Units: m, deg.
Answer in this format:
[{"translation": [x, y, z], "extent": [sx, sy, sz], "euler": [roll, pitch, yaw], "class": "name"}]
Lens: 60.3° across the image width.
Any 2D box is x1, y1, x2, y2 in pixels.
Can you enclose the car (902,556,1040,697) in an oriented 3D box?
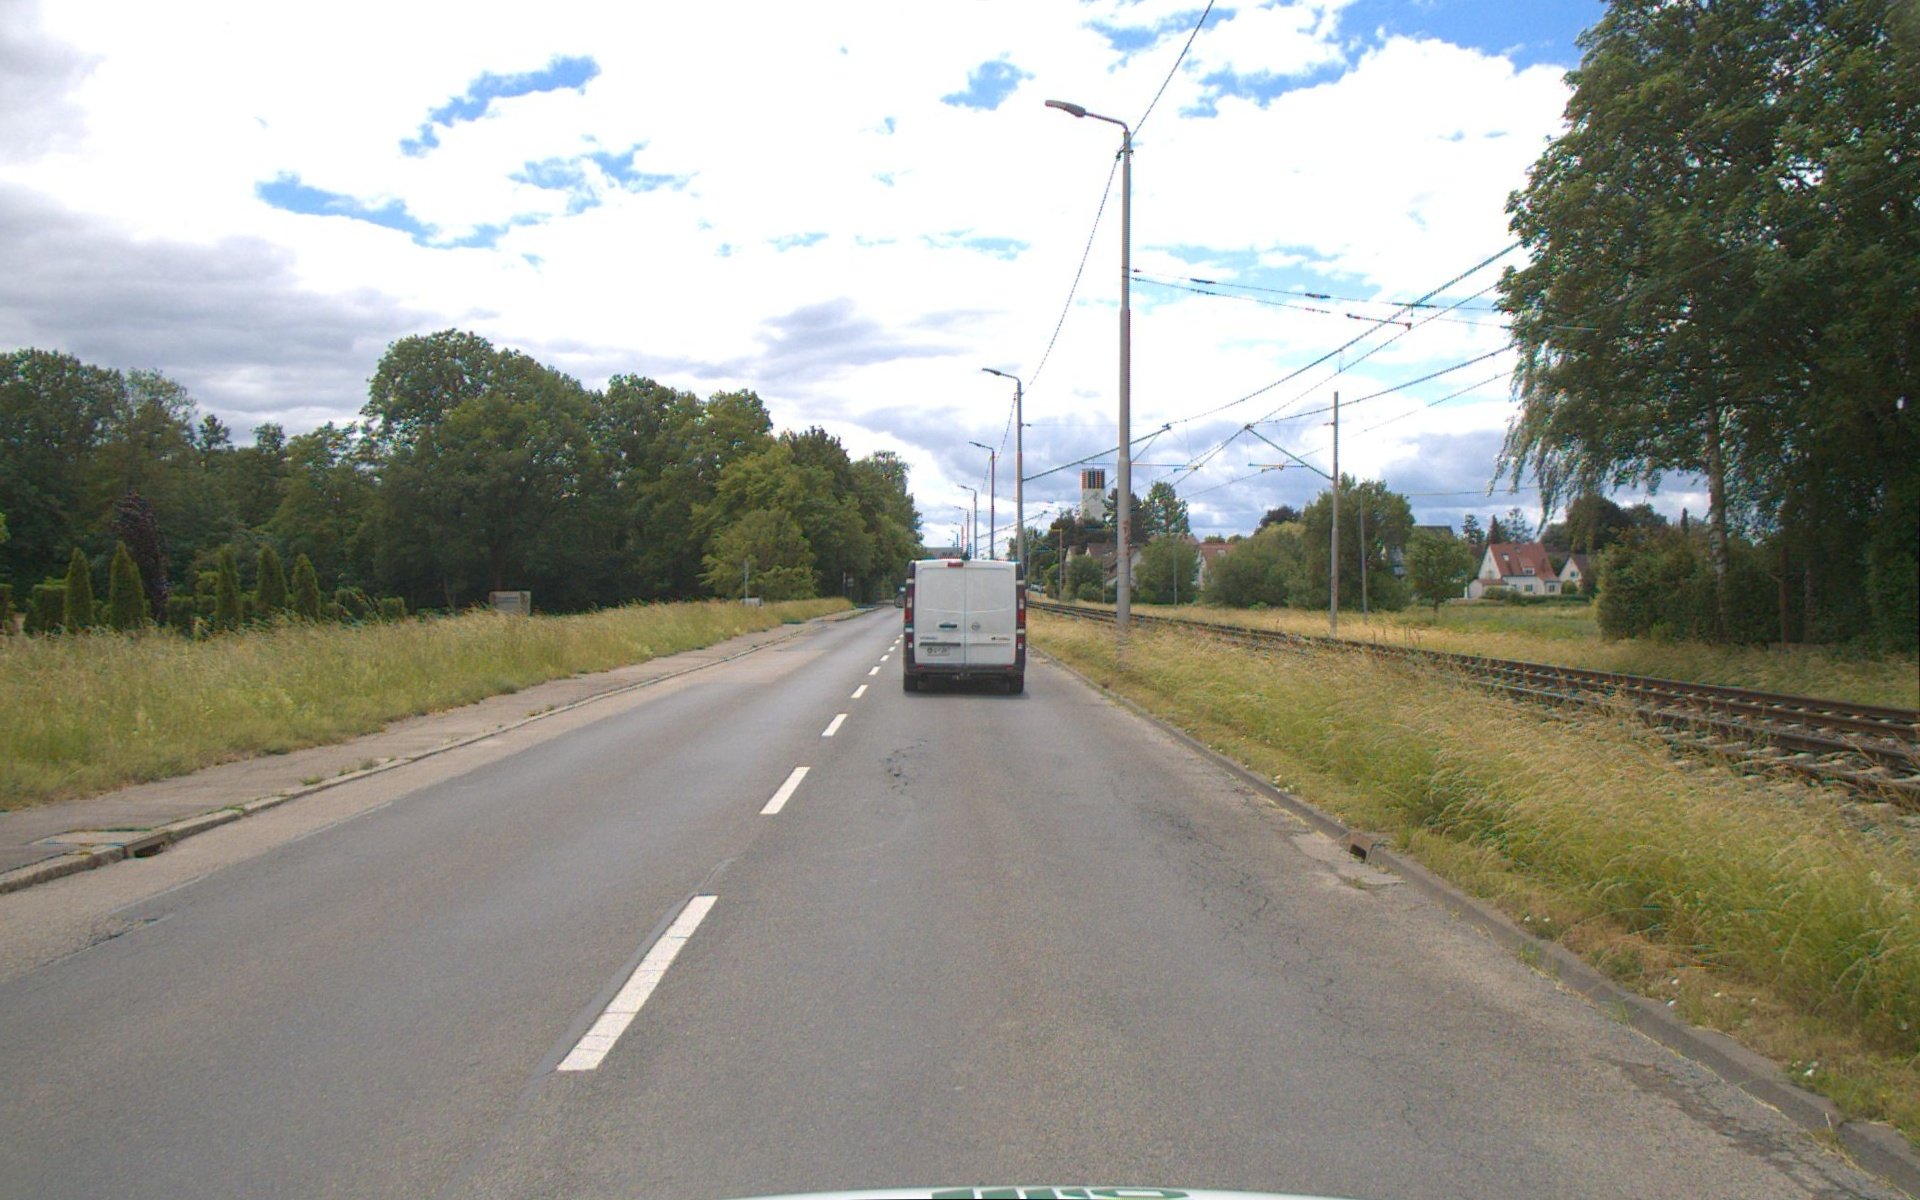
[{"translation": [0.099, 0.377, 25.675], "extent": [1.953, 1.991, 3.998], "euler": [1, 0, -2], "class": "car"}]
